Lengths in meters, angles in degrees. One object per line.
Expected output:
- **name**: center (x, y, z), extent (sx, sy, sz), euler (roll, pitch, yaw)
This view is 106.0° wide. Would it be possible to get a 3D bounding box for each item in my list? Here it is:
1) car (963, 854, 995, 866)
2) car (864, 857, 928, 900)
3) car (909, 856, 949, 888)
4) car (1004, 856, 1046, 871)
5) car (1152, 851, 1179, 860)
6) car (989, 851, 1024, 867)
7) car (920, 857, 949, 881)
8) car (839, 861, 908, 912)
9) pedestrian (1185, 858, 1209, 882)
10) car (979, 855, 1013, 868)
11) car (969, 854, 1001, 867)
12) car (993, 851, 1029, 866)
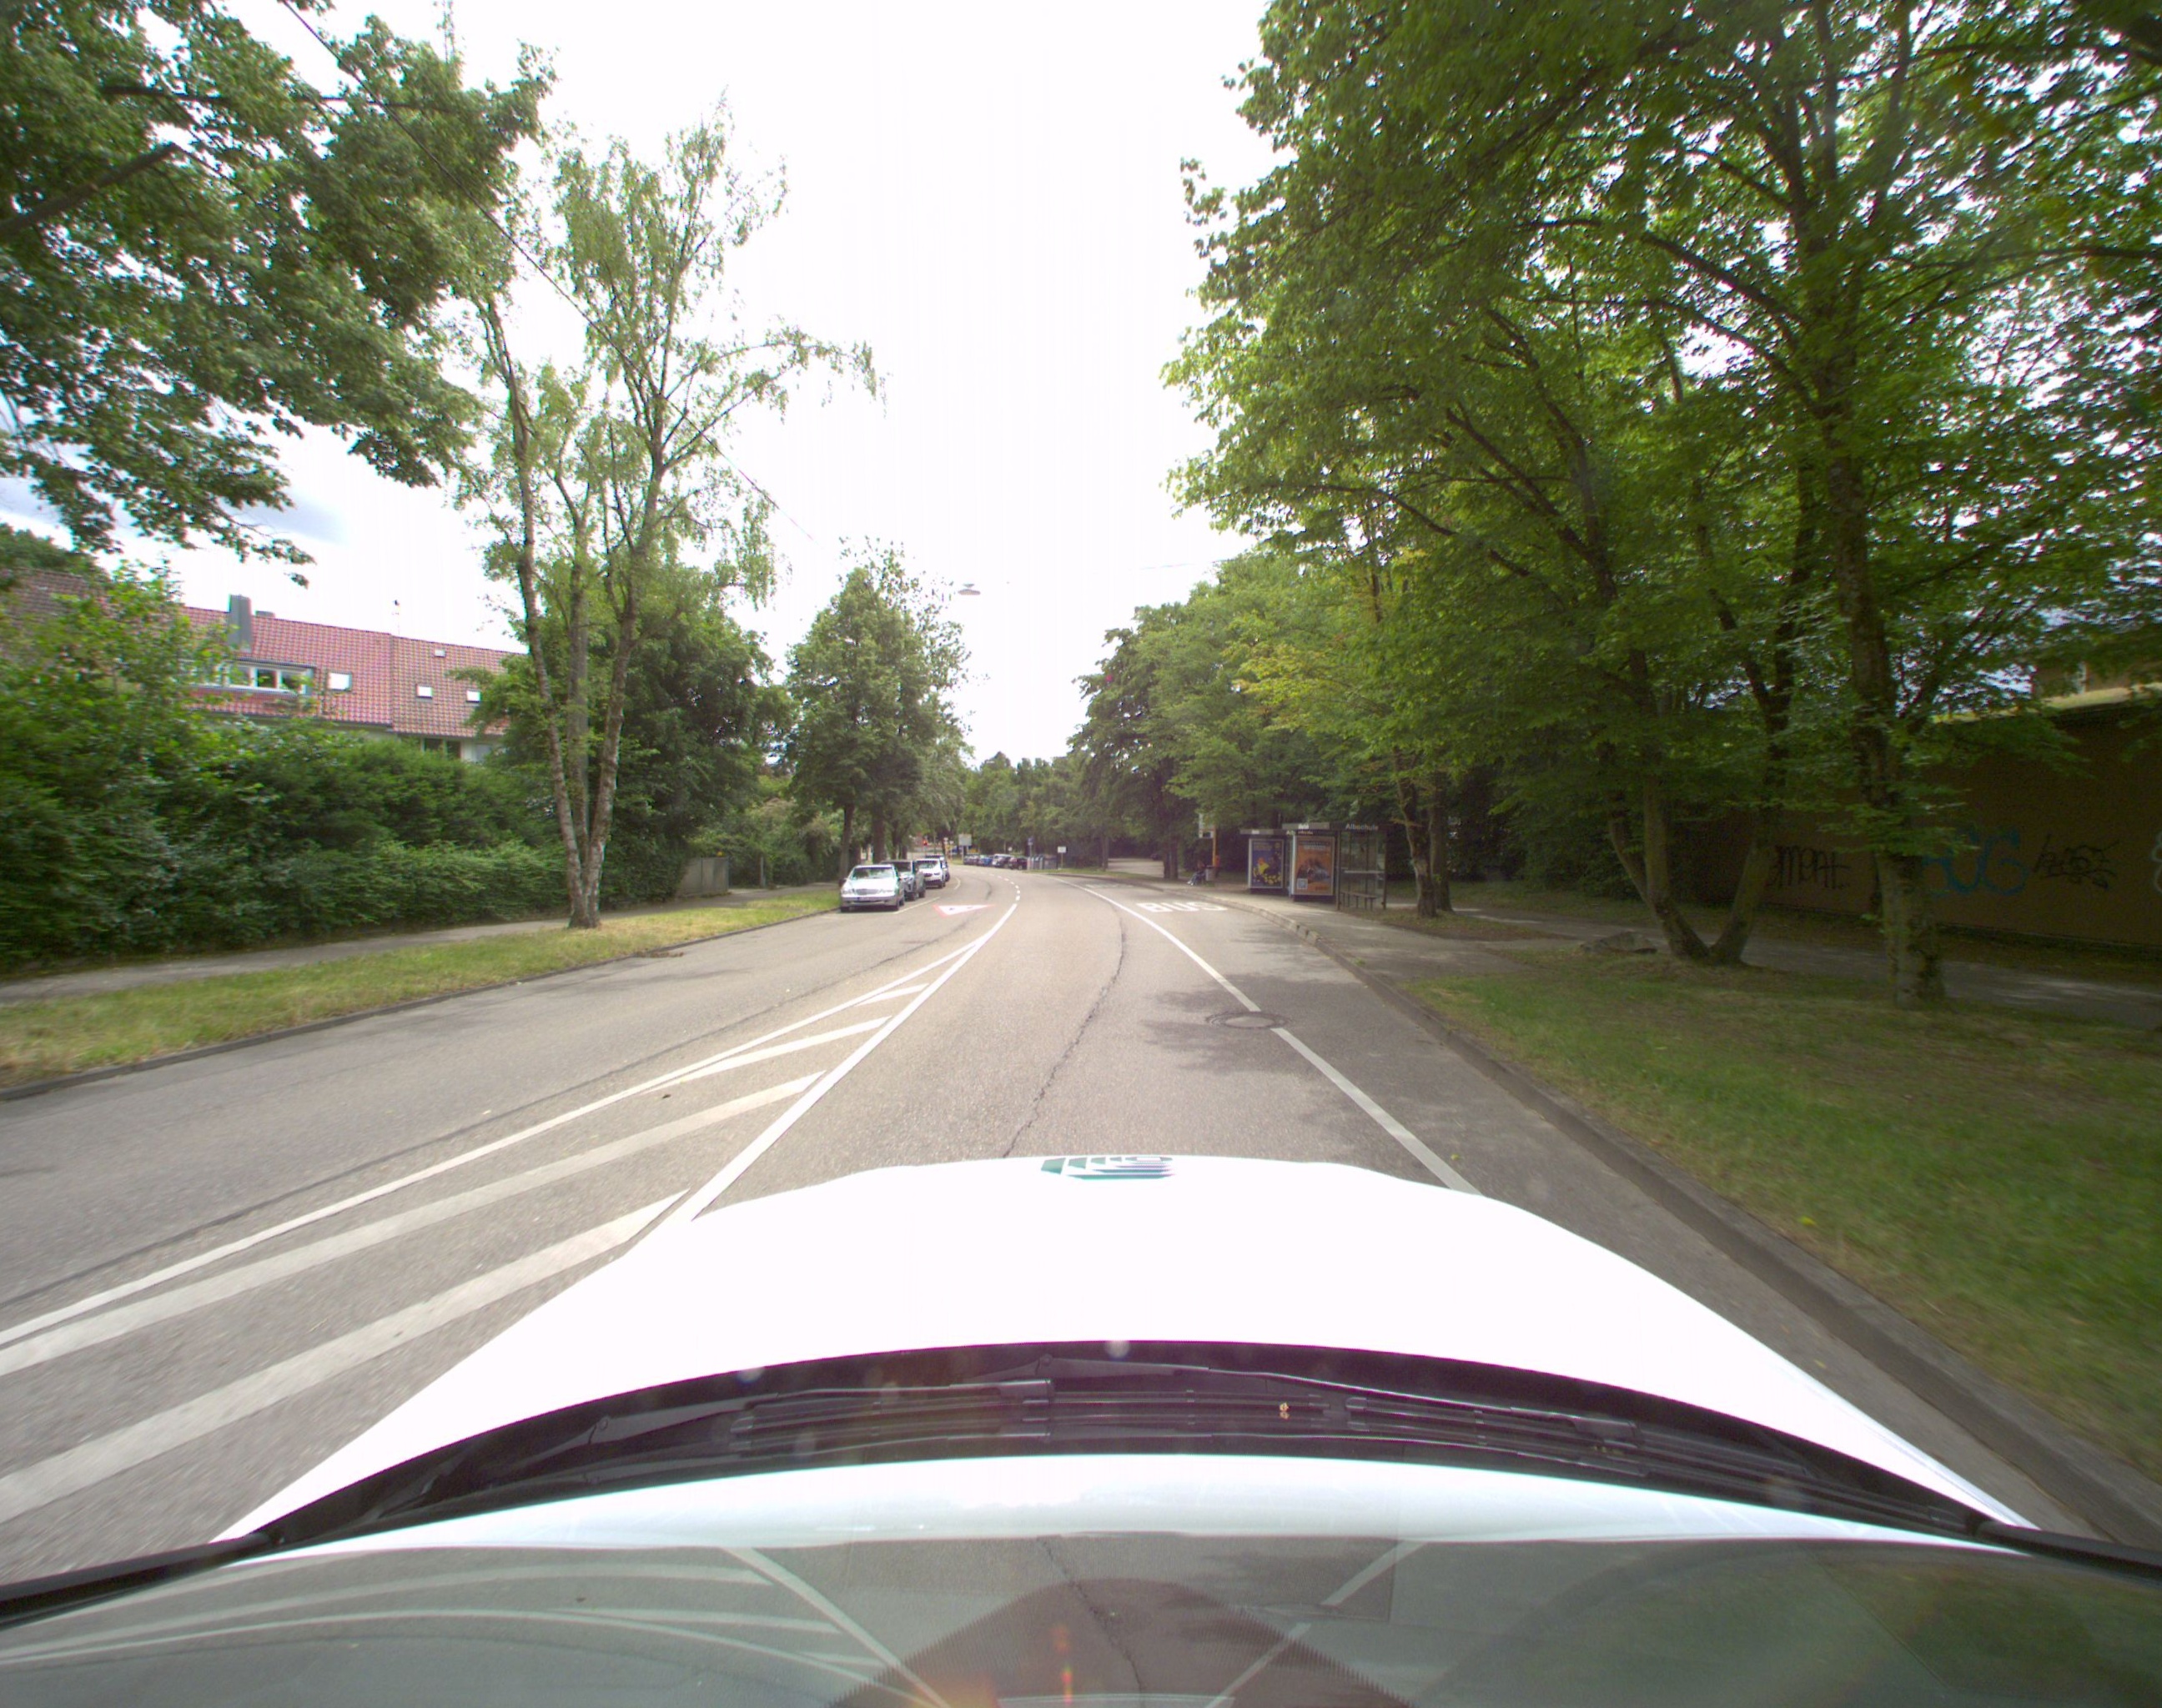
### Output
- **car**: center (-13.863, 0.823, 110.521), extent (3.902, 1.426, 1.810), euler (3, -2, -37)
- **car**: center (-7.179, 0.903, 32.035), extent (1.732, 1.538, 4.184), euler (-1, 0, -3)
- **car**: center (-8.117, 0.919, 43.712), extent (1.733, 1.578, 4.132), euler (-1, 0, -6)
- **car**: center (-6.013, 0.994, 88.041), extent (4.017, 1.414, 2.035), euler (3, 0, -37)
- **car**: center (13.562, 0.175, 130.760), extent (3.989, 1.409, 1.793), euler (0, 0, -12)
- **car**: center (-9.005, 0.603, 98.661), extent (3.848, 1.720, 1.857), euler (3, -2, -37)
- **car**: center (-9.859, 0.978, 55.126), extent (1.866, 1.538, 4.214), euler (0, 0, -9)
- **car**: center (-6.568, 0.966, 26.152), extent (1.735, 1.416, 4.458), euler (-1, 0, -9)
- **pedestrian**: center (5.706, 0.778, 40.027), extent (1.063, 1.182, 0.578), euler (0, 0, -9)
- **car**: center (-10.767, 0.919, 103.132), extent (3.848, 1.528, 1.727), euler (3, -2, -37)
- **car**: center (-12.677, 0.866, 107.558), extent (3.848, 1.528, 1.727), euler (3, -2, -37)
- **car**: center (-8.205, 0.535, 96.165), extent (3.848, 1.468, 1.727), euler (3, -1, -37)
